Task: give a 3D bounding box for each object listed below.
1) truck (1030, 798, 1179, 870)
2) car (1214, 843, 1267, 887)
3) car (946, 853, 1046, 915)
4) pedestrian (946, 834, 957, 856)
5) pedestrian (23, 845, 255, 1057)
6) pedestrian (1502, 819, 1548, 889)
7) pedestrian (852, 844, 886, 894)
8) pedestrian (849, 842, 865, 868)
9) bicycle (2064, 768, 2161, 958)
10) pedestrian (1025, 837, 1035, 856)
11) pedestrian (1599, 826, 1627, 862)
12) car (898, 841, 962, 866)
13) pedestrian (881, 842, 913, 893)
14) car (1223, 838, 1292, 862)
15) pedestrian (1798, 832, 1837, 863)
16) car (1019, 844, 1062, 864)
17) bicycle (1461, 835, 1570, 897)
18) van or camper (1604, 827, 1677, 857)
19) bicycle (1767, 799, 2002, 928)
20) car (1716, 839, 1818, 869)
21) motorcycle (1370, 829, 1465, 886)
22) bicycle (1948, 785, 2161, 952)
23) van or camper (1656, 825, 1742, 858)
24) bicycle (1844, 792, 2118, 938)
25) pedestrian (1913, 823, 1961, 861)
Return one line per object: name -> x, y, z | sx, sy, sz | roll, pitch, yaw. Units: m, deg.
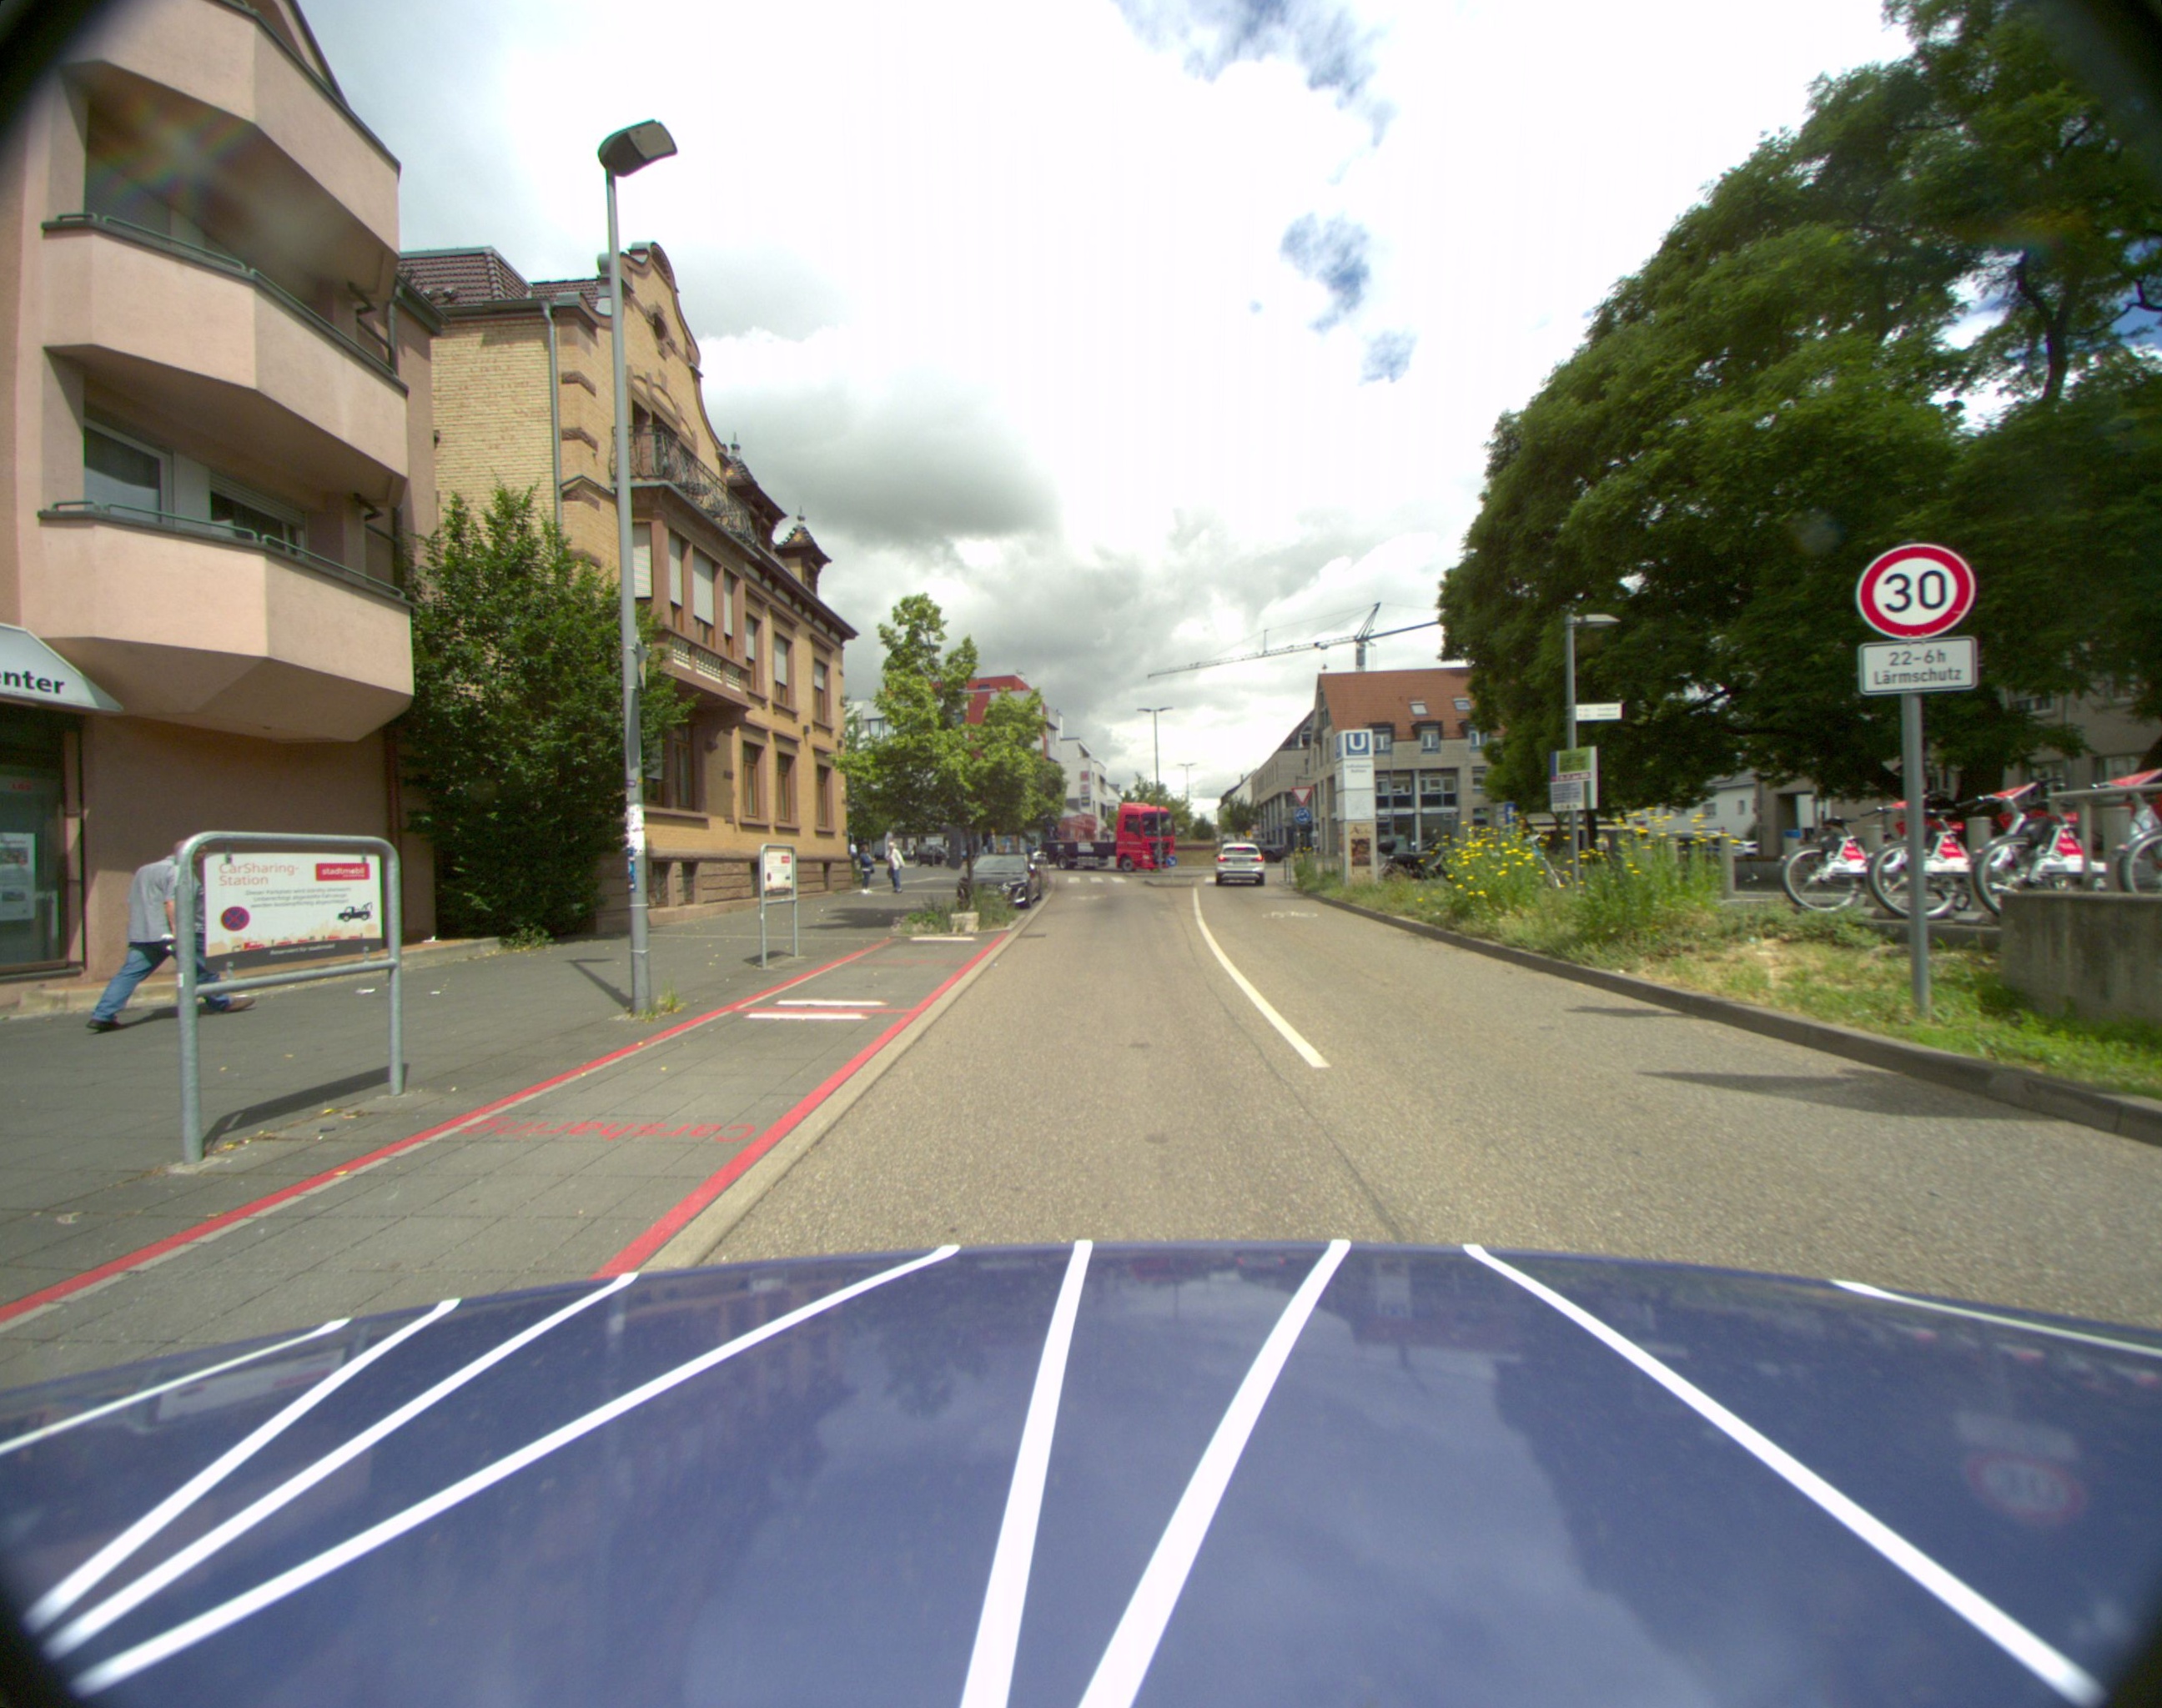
truck -> 1.085, -1.135, 45.655 | 2.687, 3.821, 10.819 | -4, 2, -36
car -> 6.115, 0.374, 29.517 | 1.826, 1.575, 4.167 | 0, 1, 9
car -> -2.191, 0.743, 21.012 | 1.998, 1.406, 4.736 | -1, 1, 2
pedestrian -> -11.517, -0.823, 67.656 | 0.684, 1.903, 0.767 | -2, 2, 11
pedestrian -> -8.012, 0.772, 6.526 | 0.718, 1.676, 0.944 | -1, 2, -1
pedestrian -> 10.651, 0.013, 18.239 | 0.661, 1.619, 0.800 | -2, 0, 10
pedestrian -> -7.086, 0.497, 25.372 | 0.738, 1.630, 0.676 | -1, 3, 27
pedestrian -> -15.003, 0.054, 50.939 | 0.767, 1.721, 0.751 | -4, 3, -30
bicycle -> 7.158, 0.038, 4.643 | 1.550, 1.121, 0.533 | -1, 1, 3
pedestrian -> -4.540, -0.672, 67.449 | 0.684, 1.586, 0.767 | -2, 2, 11
pedestrian -> 25.104, -0.478, 35.857 | 0.690, 1.665, 0.817 | -2, 0, -1
car -> -10.835, -0.042, 54.762 | 3.994, 1.641, 2.001 | -3, 1, 8
pedestrian -> -6.216, 0.453, 25.695 | 0.697, 1.649, 0.741 | -2, 2, 14
car -> 13.763, -0.291, 59.244 | 4.878, 1.644, 1.749 | -1, 2, 36
pedestrian -> 28.828, -0.235, 29.733 | 0.817, 1.168, 0.691 | -2, 0, -2
car -> -3.067, -0.021, 56.184 | 1.818, 1.391, 4.045 | -3, 2, -23
bicycle -> 7.946, 0.218, 13.917 | 1.690, 1.075, 0.515 | -1, -1, -2
van or camper -> 47.546, -0.989, 64.666 | 2.002, 2.369, 4.666 | -2, 1, -22
bicycle -> 7.345, 0.084, 6.991 | 1.550, 1.121, 0.533 | -1, 1, 3
car -> 39.437, -0.026, 43.748 | 4.069, 1.531, 1.747 | -2, 2, 10
motorcycle -> 8.758, 0.085, 19.849 | 2.194, 1.442, 0.648 | -1, 2, 1
bicycle -> 7.256, 0.092, 5.389 | 1.550, 1.121, 0.533 | -1, 1, 3
van or camper -> 47.047, -0.897, 57.973 | 2.002, 2.369, 4.666 | -2, 1, -22
bicycle -> 7.311, 0.088, 6.217 | 1.550, 1.121, 0.533 | -1, 1, 3
pedestrian -> 28.952, -0.402, 25.709 | 0.817, 1.219, 0.691 | -2, 0, -2
